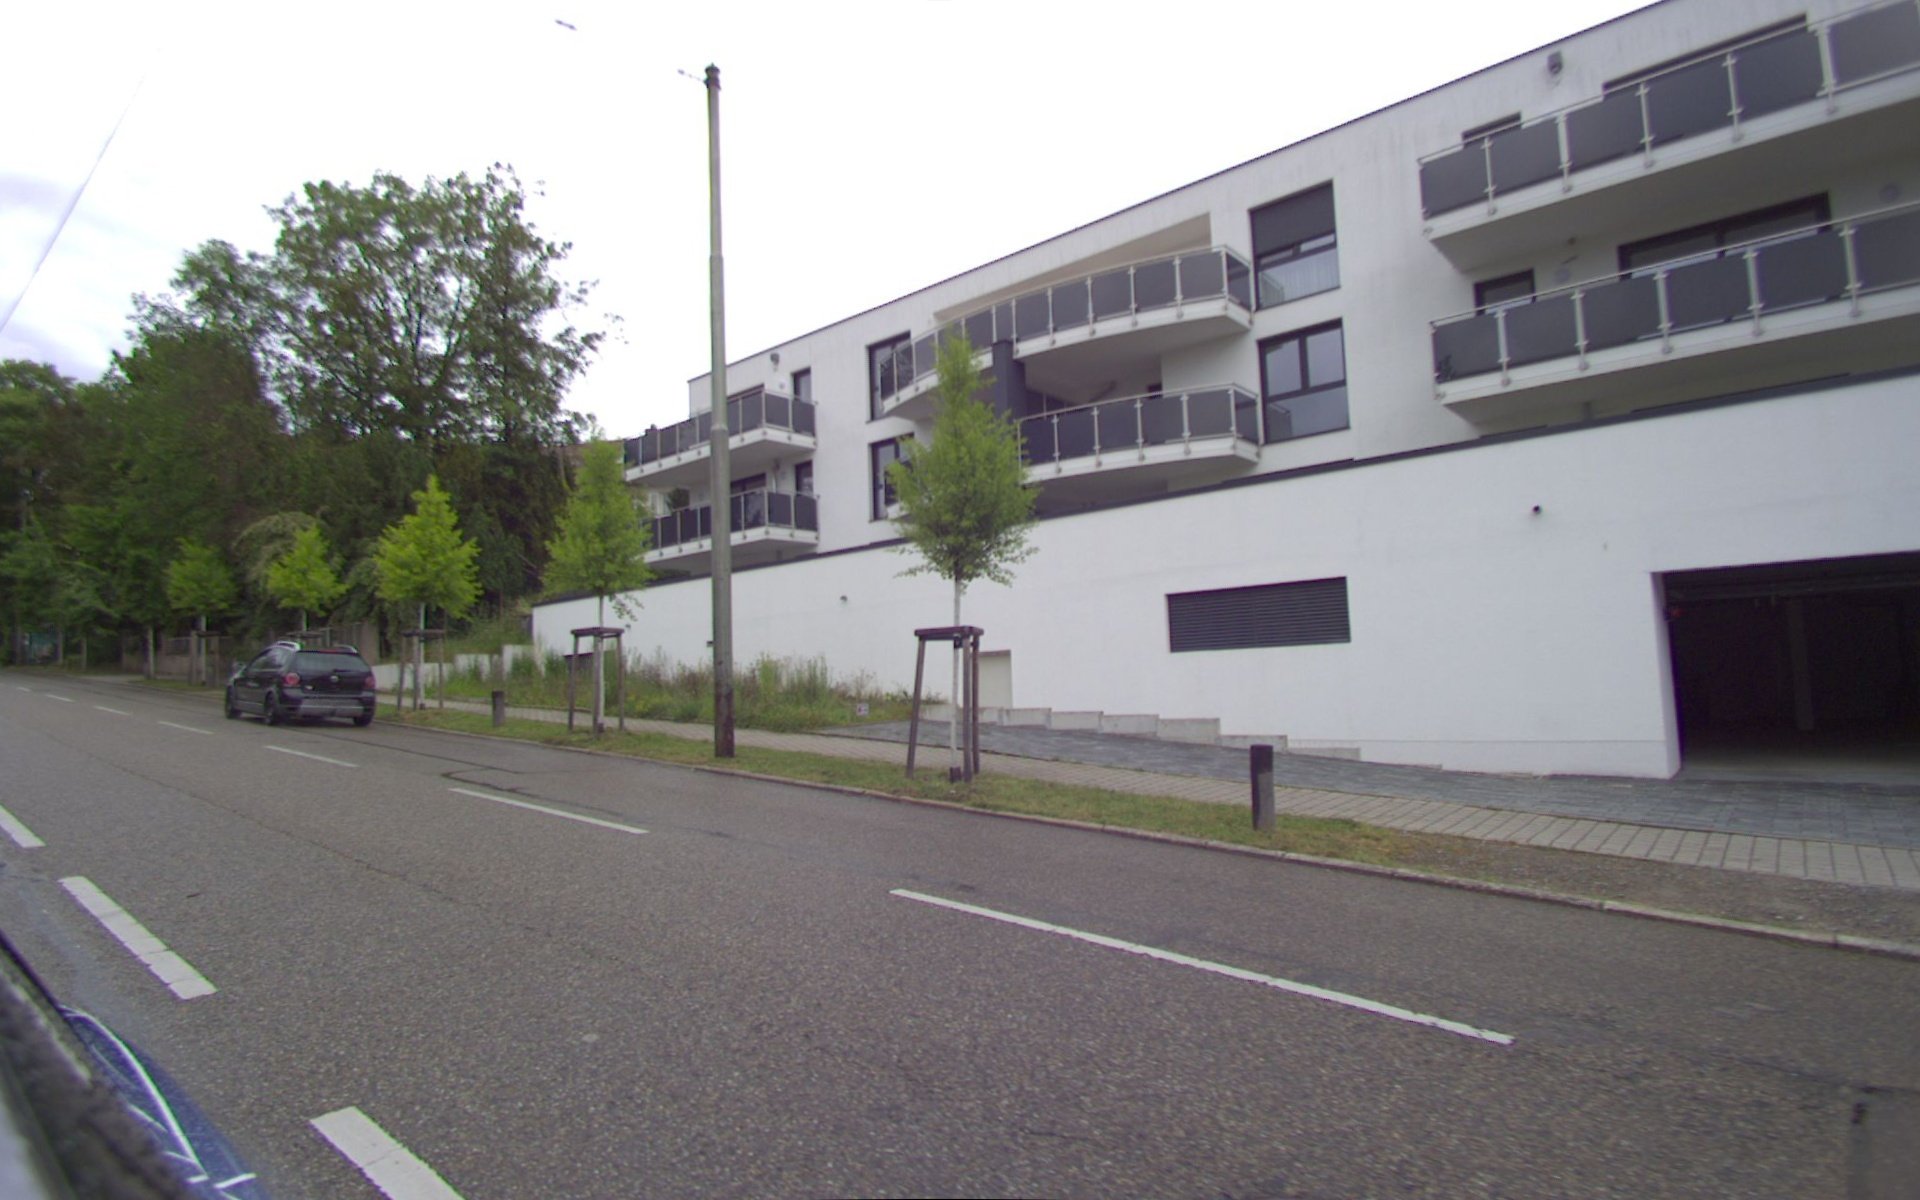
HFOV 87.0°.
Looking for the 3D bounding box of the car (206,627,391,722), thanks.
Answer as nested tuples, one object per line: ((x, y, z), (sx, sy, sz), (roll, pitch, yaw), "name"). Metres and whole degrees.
((-12.353, 1.349, 18.821), (3.915, 1.561, 1.728), (-1, -5, 40), "car")
